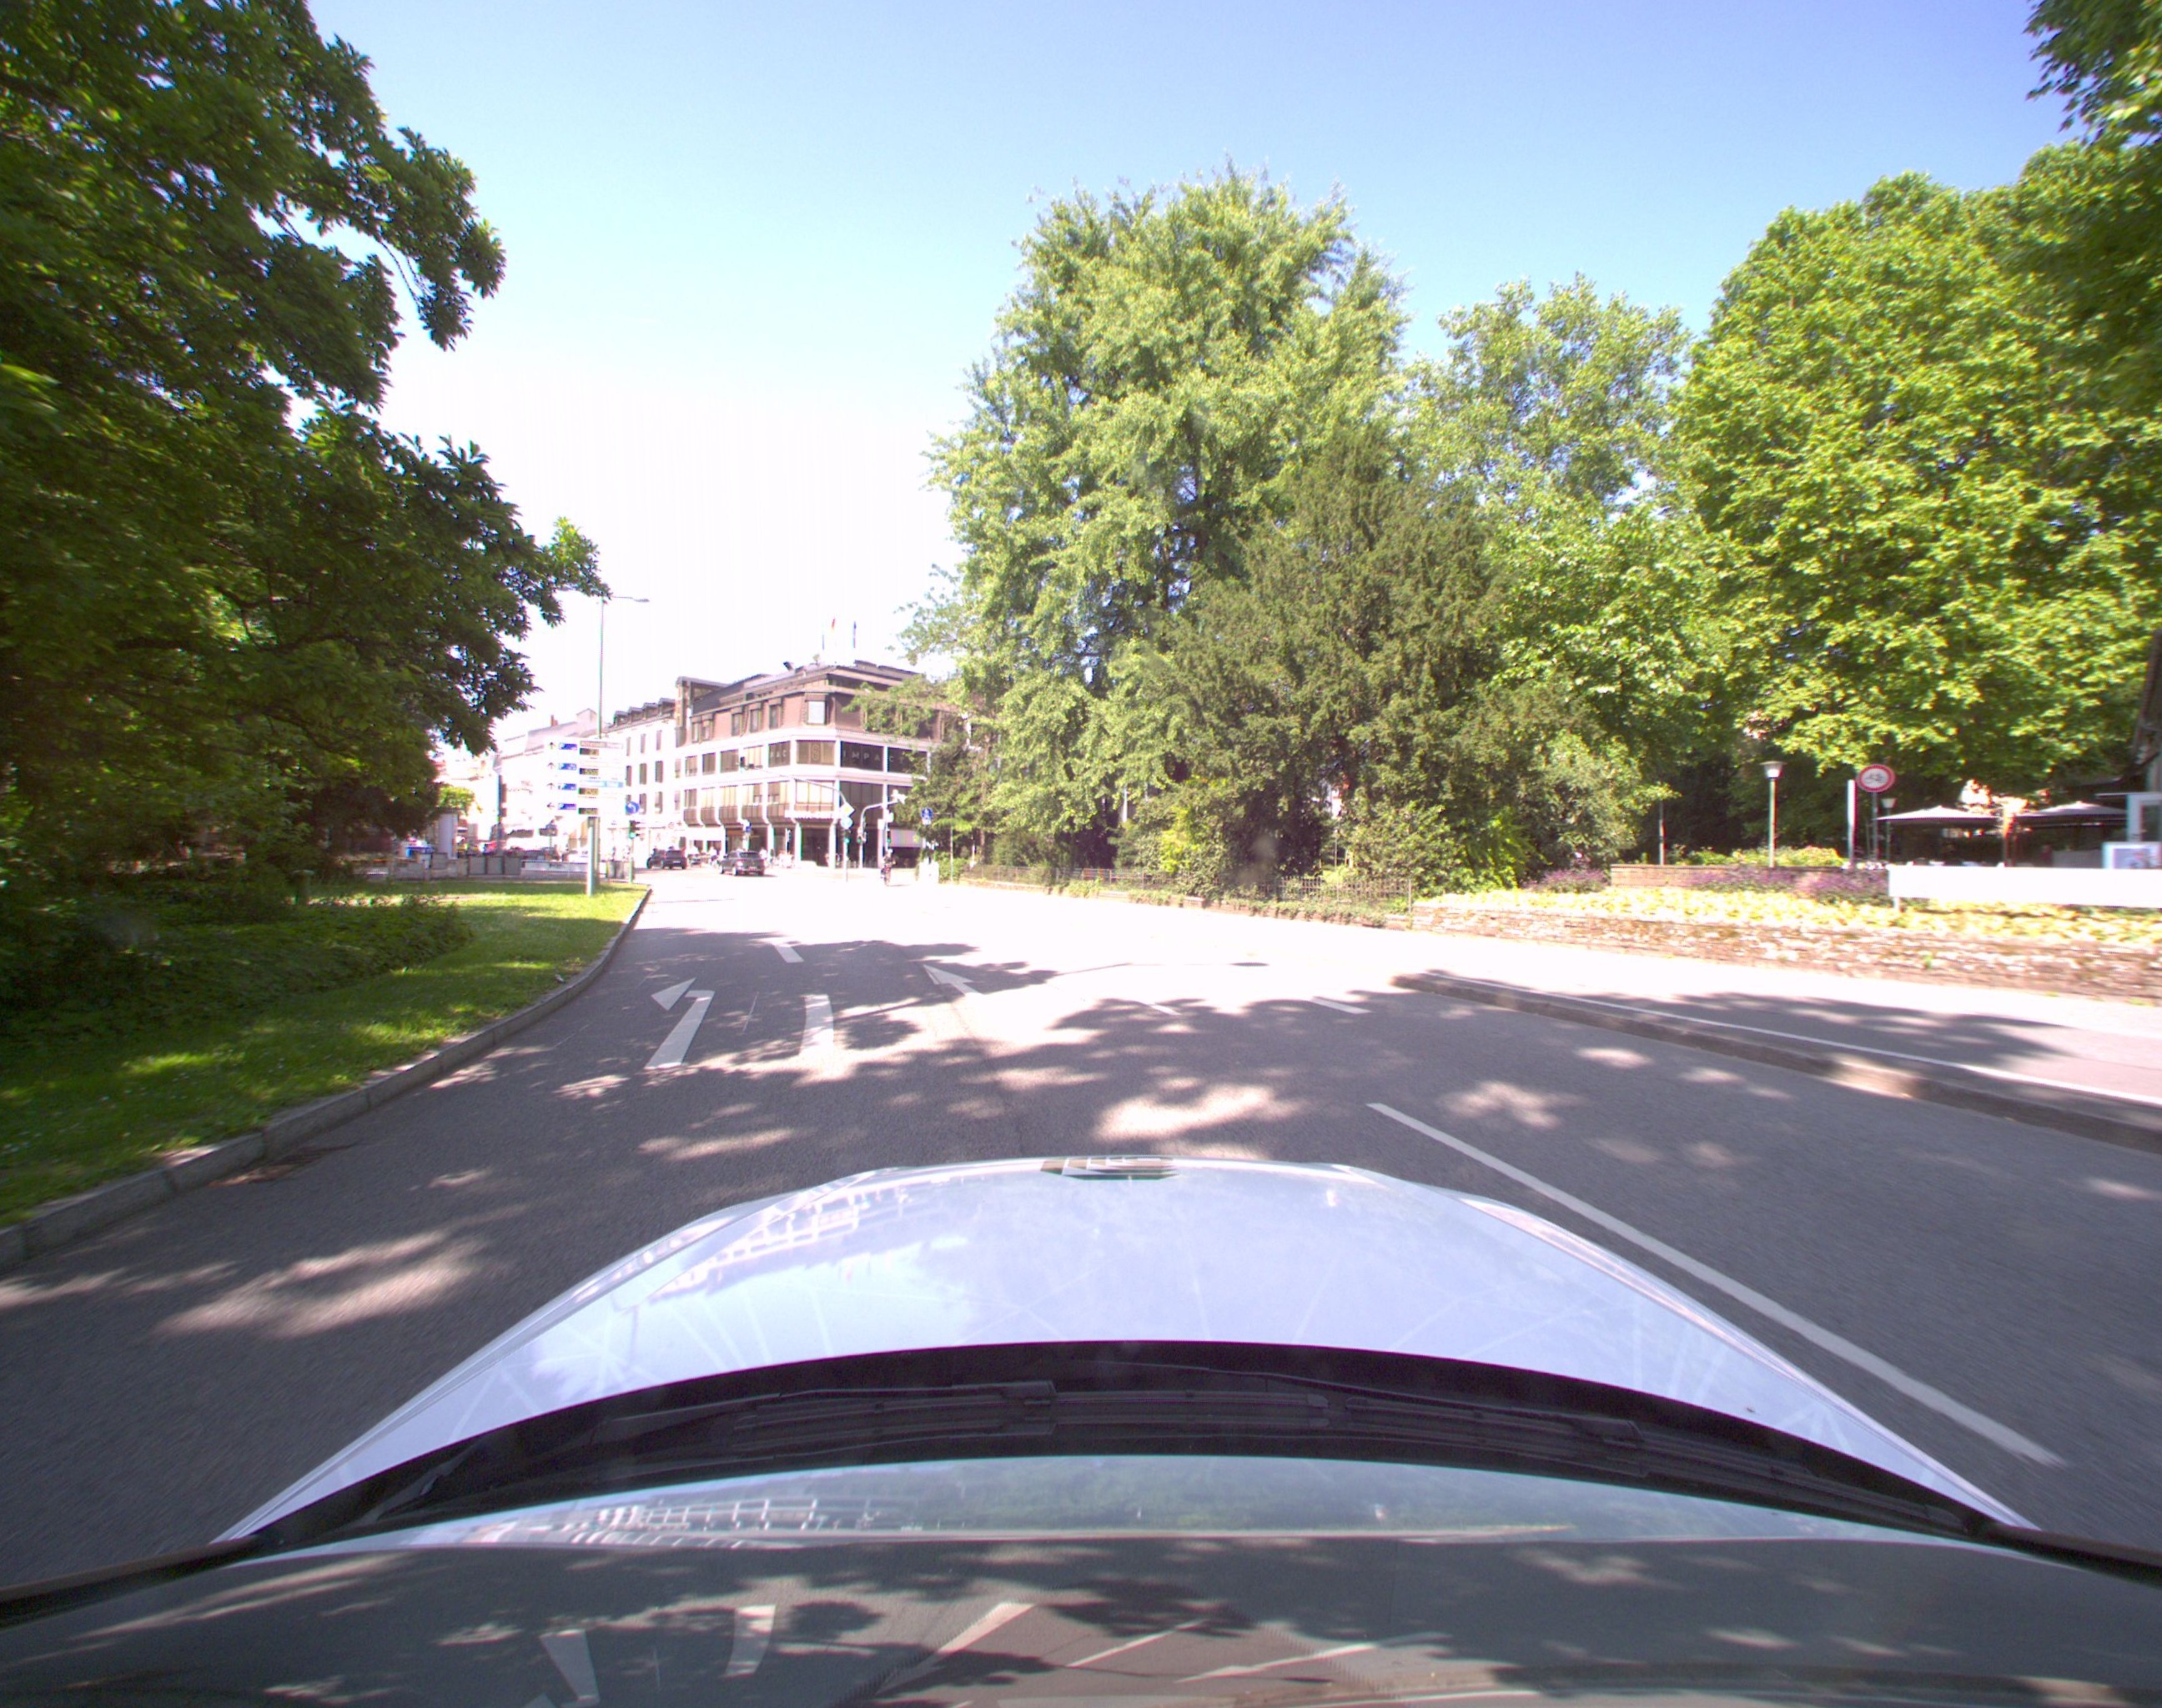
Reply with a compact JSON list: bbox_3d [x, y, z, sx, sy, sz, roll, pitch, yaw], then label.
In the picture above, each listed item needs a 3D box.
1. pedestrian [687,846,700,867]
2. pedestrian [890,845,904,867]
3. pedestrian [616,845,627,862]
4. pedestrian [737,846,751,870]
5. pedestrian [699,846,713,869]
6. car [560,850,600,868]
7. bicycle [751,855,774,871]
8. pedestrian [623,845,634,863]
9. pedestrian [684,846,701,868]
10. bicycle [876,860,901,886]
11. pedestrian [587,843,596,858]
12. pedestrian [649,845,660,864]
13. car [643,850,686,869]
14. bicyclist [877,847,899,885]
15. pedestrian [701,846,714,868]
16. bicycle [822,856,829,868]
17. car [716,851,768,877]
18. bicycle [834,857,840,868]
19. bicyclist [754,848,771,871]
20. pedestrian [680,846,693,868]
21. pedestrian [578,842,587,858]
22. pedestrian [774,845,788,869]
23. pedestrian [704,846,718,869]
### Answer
[{"bbox_3d":[-33.765,0.210,70.948,0.777,1.812,0.819,1,0,-42],"label":"pedestrian"},{"bbox_3d":[-17.560,0.194,77.727,0.992,2.014,0.853,1,-1,-41],"label":"pedestrian"},{"bbox_3d":[-47.650,-0.042,84.498,0.778,1.812,0.819,1,0,-43],"label":"pedestrian"},{"bbox_3d":[-26.694,0.315,64.450,0.777,1.812,0.819,1,0,-42],"label":"pedestrian"},{"bbox_3d":[-30.400,0.264,66.069,0.777,1.812,0.819,1,0,-42],"label":"pedestrian"},{"bbox_3d":[-38.811,0.372,63.008,1.851,1.409,3.747,1,0,-44],"label":"car"},{"bbox_3d":[-24.194,0.673,61.827,0.734,1.180,2.298,2,-1,-43],"label":"bicycle"},{"bbox_3d":[-45.474,-0.028,81.803,0.778,1.812,0.819,1,0,-43],"label":"pedestrian"},{"bbox_3d":[-32.006,0.228,67.066,0.982,1.812,0.939,1,0,-42],"label":"pedestrian"},{"bbox_3d":[-9.218,0.885,38.923,0.857,1.160,2.068,1,0,-22],"label":"bicycle"},{"bbox_3d":[-58.573,-0.450,97.489,0.778,1.812,0.819,1,0,-43],"label":"pedestrian"},{"bbox_3d":[-42.275,0.062,80.684,0.778,1.812,0.819,1,0,-43],"label":"pedestrian"},{"bbox_3d":[-31.070,0.392,60.715,1.842,1.409,3.747,1,0,-44],"label":"car"},{"bbox_3d":[-9.256,0.560,39.033,0.862,1.796,1.121,1,0,-23],"label":"bicyclist"},{"bbox_3d":[-31.434,0.247,68.565,0.777,1.812,0.819,1,0,-42],"label":"pedestrian"},{"bbox_3d":[-21.095,0.655,67.284,0.508,0.901,1.513,0,0,-17],"label":"bicycle"},{"bbox_3d":[-21.055,0.588,50.530,1.963,1.537,4.036,0,0,-38],"label":"car"},{"bbox_3d":[-20.239,0.673,67.572,0.508,0.901,1.513,0,0,-17],"label":"bicycle"},{"bbox_3d":[-24.178,0.399,61.799,0.757,1.747,1.116,1,0,-43],"label":"bicyclist"},{"bbox_3d":[-32.991,0.216,68.149,0.777,1.812,0.819,1,0,-42],"label":"pedestrian"},{"bbox_3d":[-59.227,-0.457,96.816,0.778,1.812,0.819,1,0,-43],"label":"pedestrian"},{"bbox_3d":[-24.733,0.236,67.124,0.777,1.958,0.819,1,0,-42],"label":"pedestrian"},{"bbox_3d":[-29.627,0.302,65.180,0.777,1.812,0.819,1,0,-42],"label":"pedestrian"}]
